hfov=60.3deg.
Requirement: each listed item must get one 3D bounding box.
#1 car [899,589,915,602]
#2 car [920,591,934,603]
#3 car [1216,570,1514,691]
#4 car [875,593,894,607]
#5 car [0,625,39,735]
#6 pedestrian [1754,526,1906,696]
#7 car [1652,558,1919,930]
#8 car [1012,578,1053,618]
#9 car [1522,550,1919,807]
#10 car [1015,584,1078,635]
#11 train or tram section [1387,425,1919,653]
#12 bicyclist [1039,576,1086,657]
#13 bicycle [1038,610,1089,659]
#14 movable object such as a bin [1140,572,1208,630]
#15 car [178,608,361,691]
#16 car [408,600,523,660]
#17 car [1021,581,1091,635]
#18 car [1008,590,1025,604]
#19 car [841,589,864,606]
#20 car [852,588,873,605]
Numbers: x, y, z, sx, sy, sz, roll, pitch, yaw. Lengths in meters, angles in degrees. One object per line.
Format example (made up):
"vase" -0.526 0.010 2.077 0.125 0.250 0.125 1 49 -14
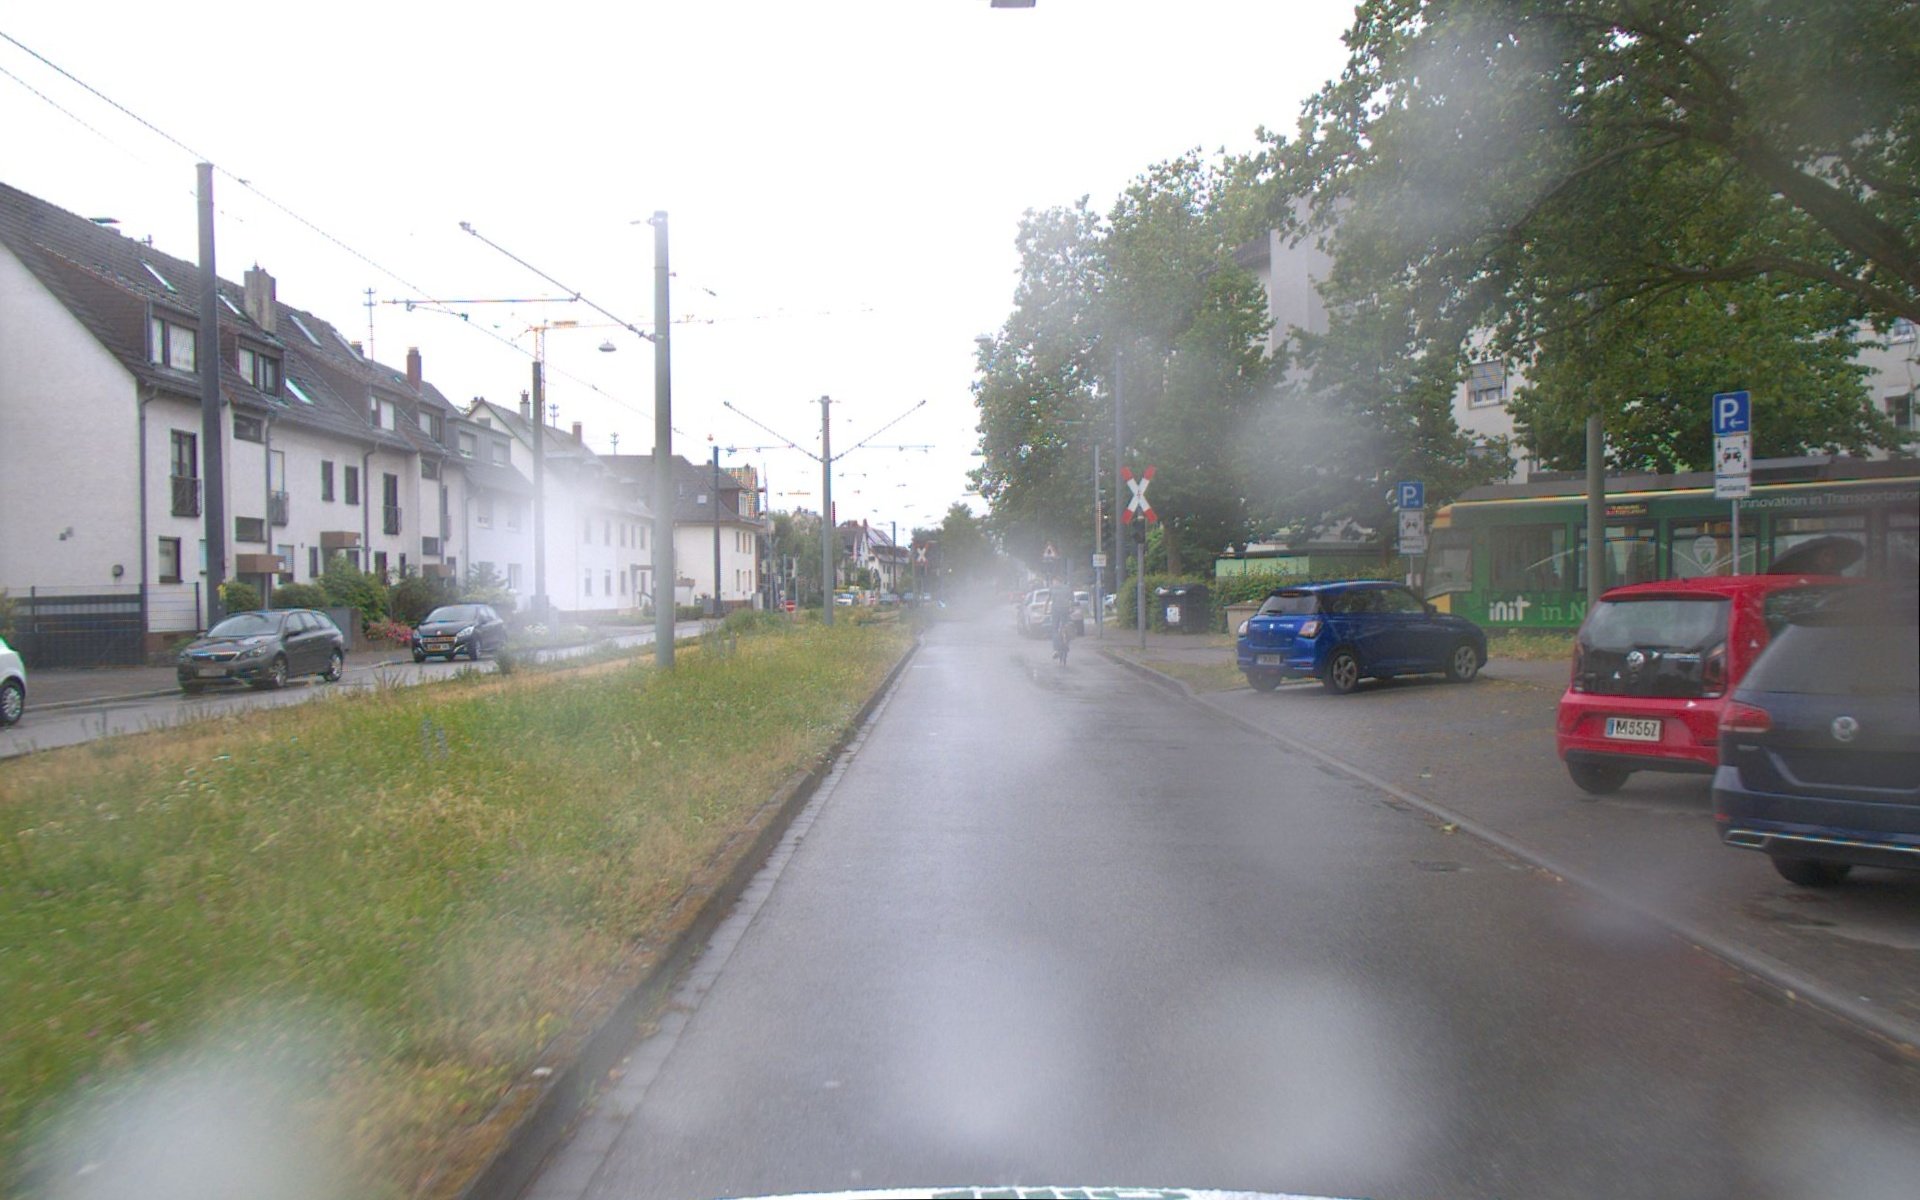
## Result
"car" -7.299 -0.609 226.758 1.952 1.571 4.000 -1 -2 1
"car" -4.913 -0.468 248.358 1.952 1.571 4.000 -1 -2 1
"car" 5.820 0.371 23.678 3.948 1.509 1.979 -2 2 -32
"car" -9.159 0.002 200.754 1.952 1.571 4.000 -1 -2 1
"car" -13.444 1.037 20.731 1.568 1.449 3.943 -1 -2 0
"pedestrian" 9.360 0.110 17.840 1.023 1.744 1.080 -2 0 0
"car" 5.524 0.525 8.206 4.071 1.505 1.846 -3 1 -32
"car" 3.910 -0.091 90.054 1.902 2.048 3.999 -3 -1 -1
"car" 5.954 0.454 11.828 3.544 1.505 1.624 -3 1 -27
"car" 3.067 0.355 59.283 1.902 1.680 3.999 -3 -1 -1
"train or tram section" 14.607 -0.945 29.384 2.692 3.653 14.507 1 -1 -42
"bicyclist" 2.063 0.327 33.356 0.814 1.585 0.913 -2 -1 -3
"bicycle" 2.074 0.678 33.350 0.805 0.928 1.984 -2 -1 -3
"movable object such as a bin" 6.667 0.027 51.627 1.529 1.733 1.489 -2 0 -24
"car" -13.273 0.963 32.100 1.568 1.449 4.666 -1 -2 0
"car" -13.286 0.834 44.670 1.838 1.530 4.132 -1 -2 0
"car" 3.082 0.271 53.734 1.915 1.580 3.999 -3 -1 -1
"car" 6.657 -0.345 195.593 1.953 1.518 3.999 -1 -2 0
"car" -10.983 -0.266 169.290 1.952 1.571 4.000 -1 -2 1
"car" -10.358 -0.359 175.757 1.952 1.735 4.000 -1 -2 1
